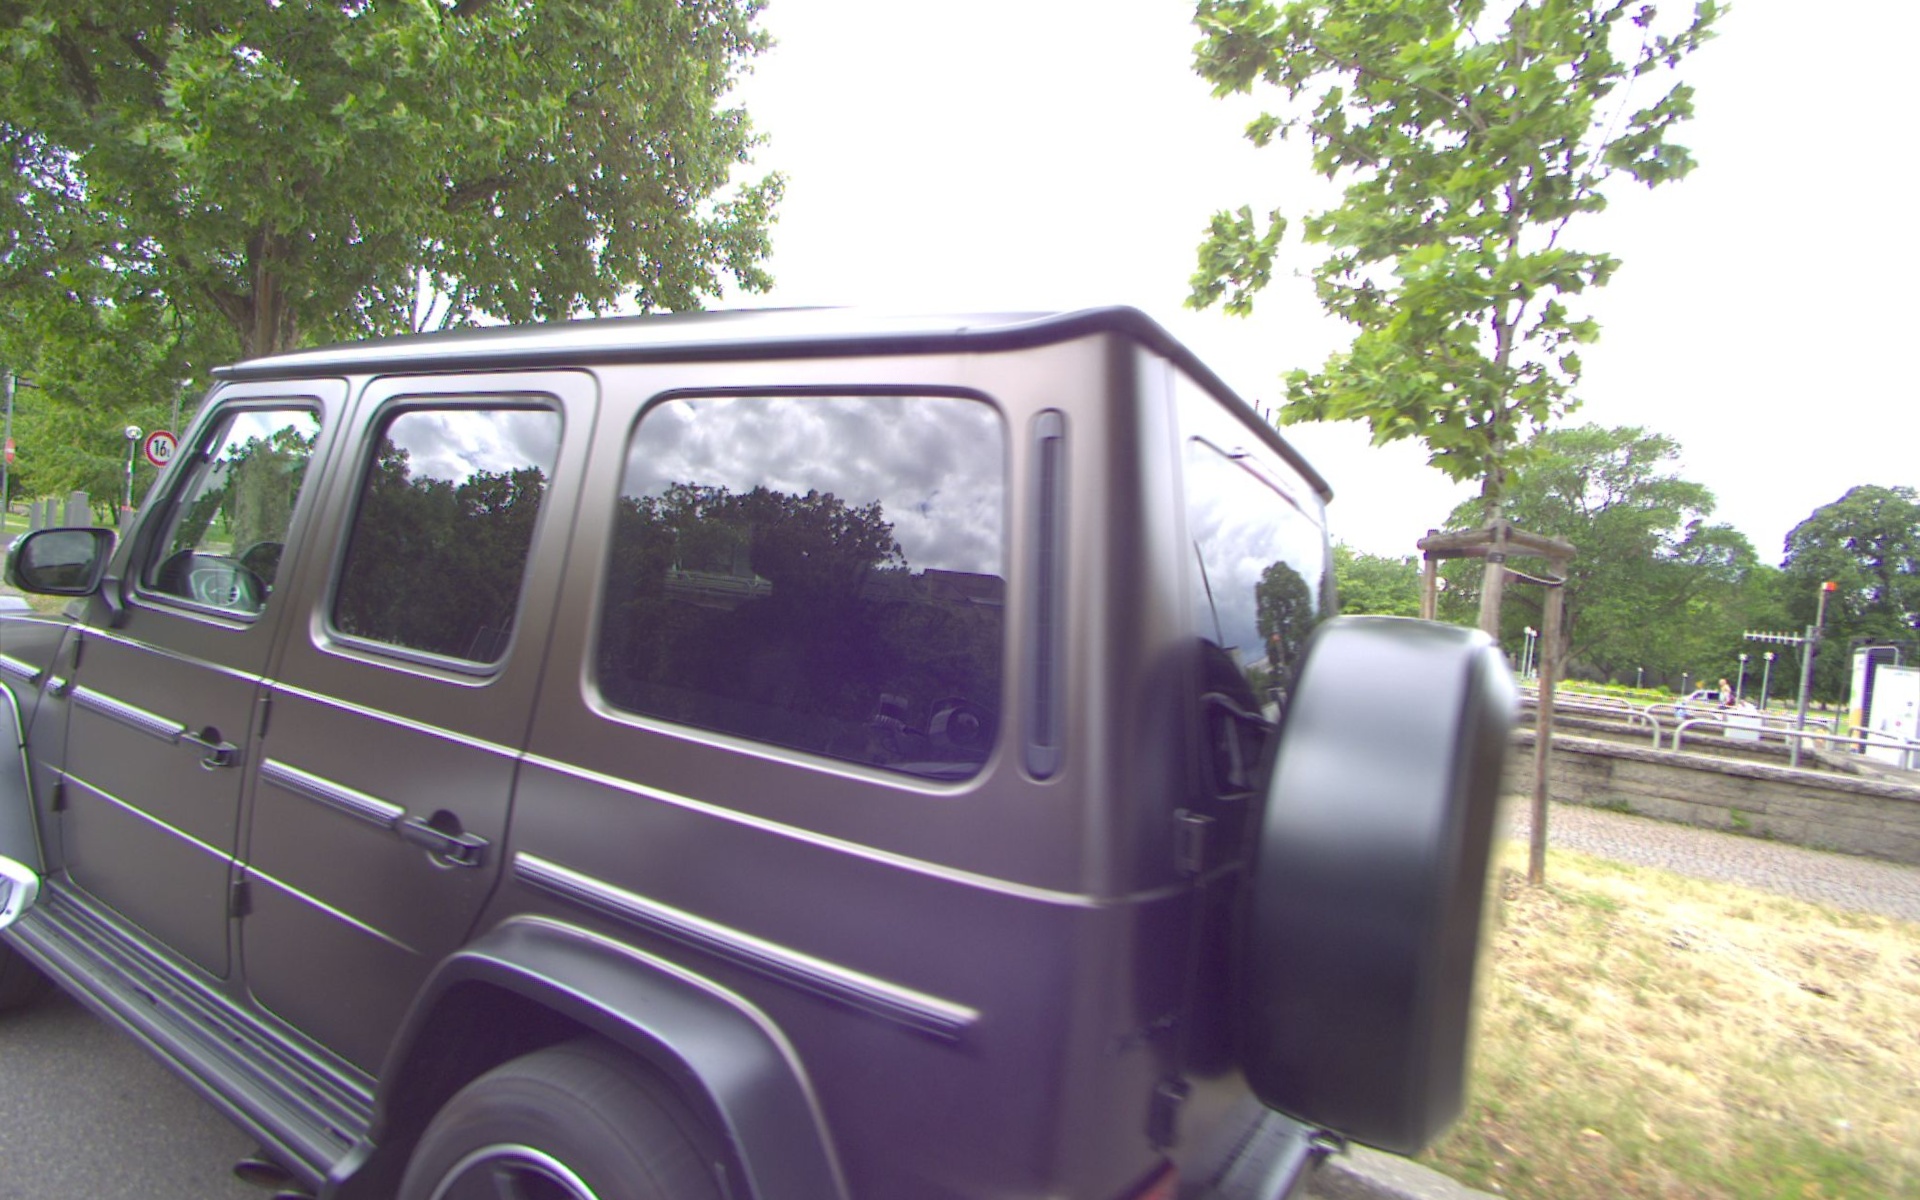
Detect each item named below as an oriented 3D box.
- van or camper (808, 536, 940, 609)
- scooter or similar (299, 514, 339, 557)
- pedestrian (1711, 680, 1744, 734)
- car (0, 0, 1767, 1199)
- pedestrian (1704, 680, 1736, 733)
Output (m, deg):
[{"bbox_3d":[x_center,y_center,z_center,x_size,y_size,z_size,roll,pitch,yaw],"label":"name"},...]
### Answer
[{"bbox_3d":[-3.436,-1.071,41.643,2.283,2.347,5.704,5,-2,33],"label":"van or camper"},{"bbox_3d":[-20.525,-2.061,32.231,0.716,1.261,0.717,6,-2,32],"label":"scooter or similar"},{"bbox_3d":[30.415,4.223,39.869,0.802,2.037,0.766,5,-2,31],"label":"pedestrian"},{"bbox_3d":[-0.969,0.389,2.796,4.629,1.915,1.982,6,-2,31],"label":"car"},{"bbox_3d":[30.913,4.334,40.931,0.802,2.037,0.857,5,-2,31],"label":"pedestrian"}]
